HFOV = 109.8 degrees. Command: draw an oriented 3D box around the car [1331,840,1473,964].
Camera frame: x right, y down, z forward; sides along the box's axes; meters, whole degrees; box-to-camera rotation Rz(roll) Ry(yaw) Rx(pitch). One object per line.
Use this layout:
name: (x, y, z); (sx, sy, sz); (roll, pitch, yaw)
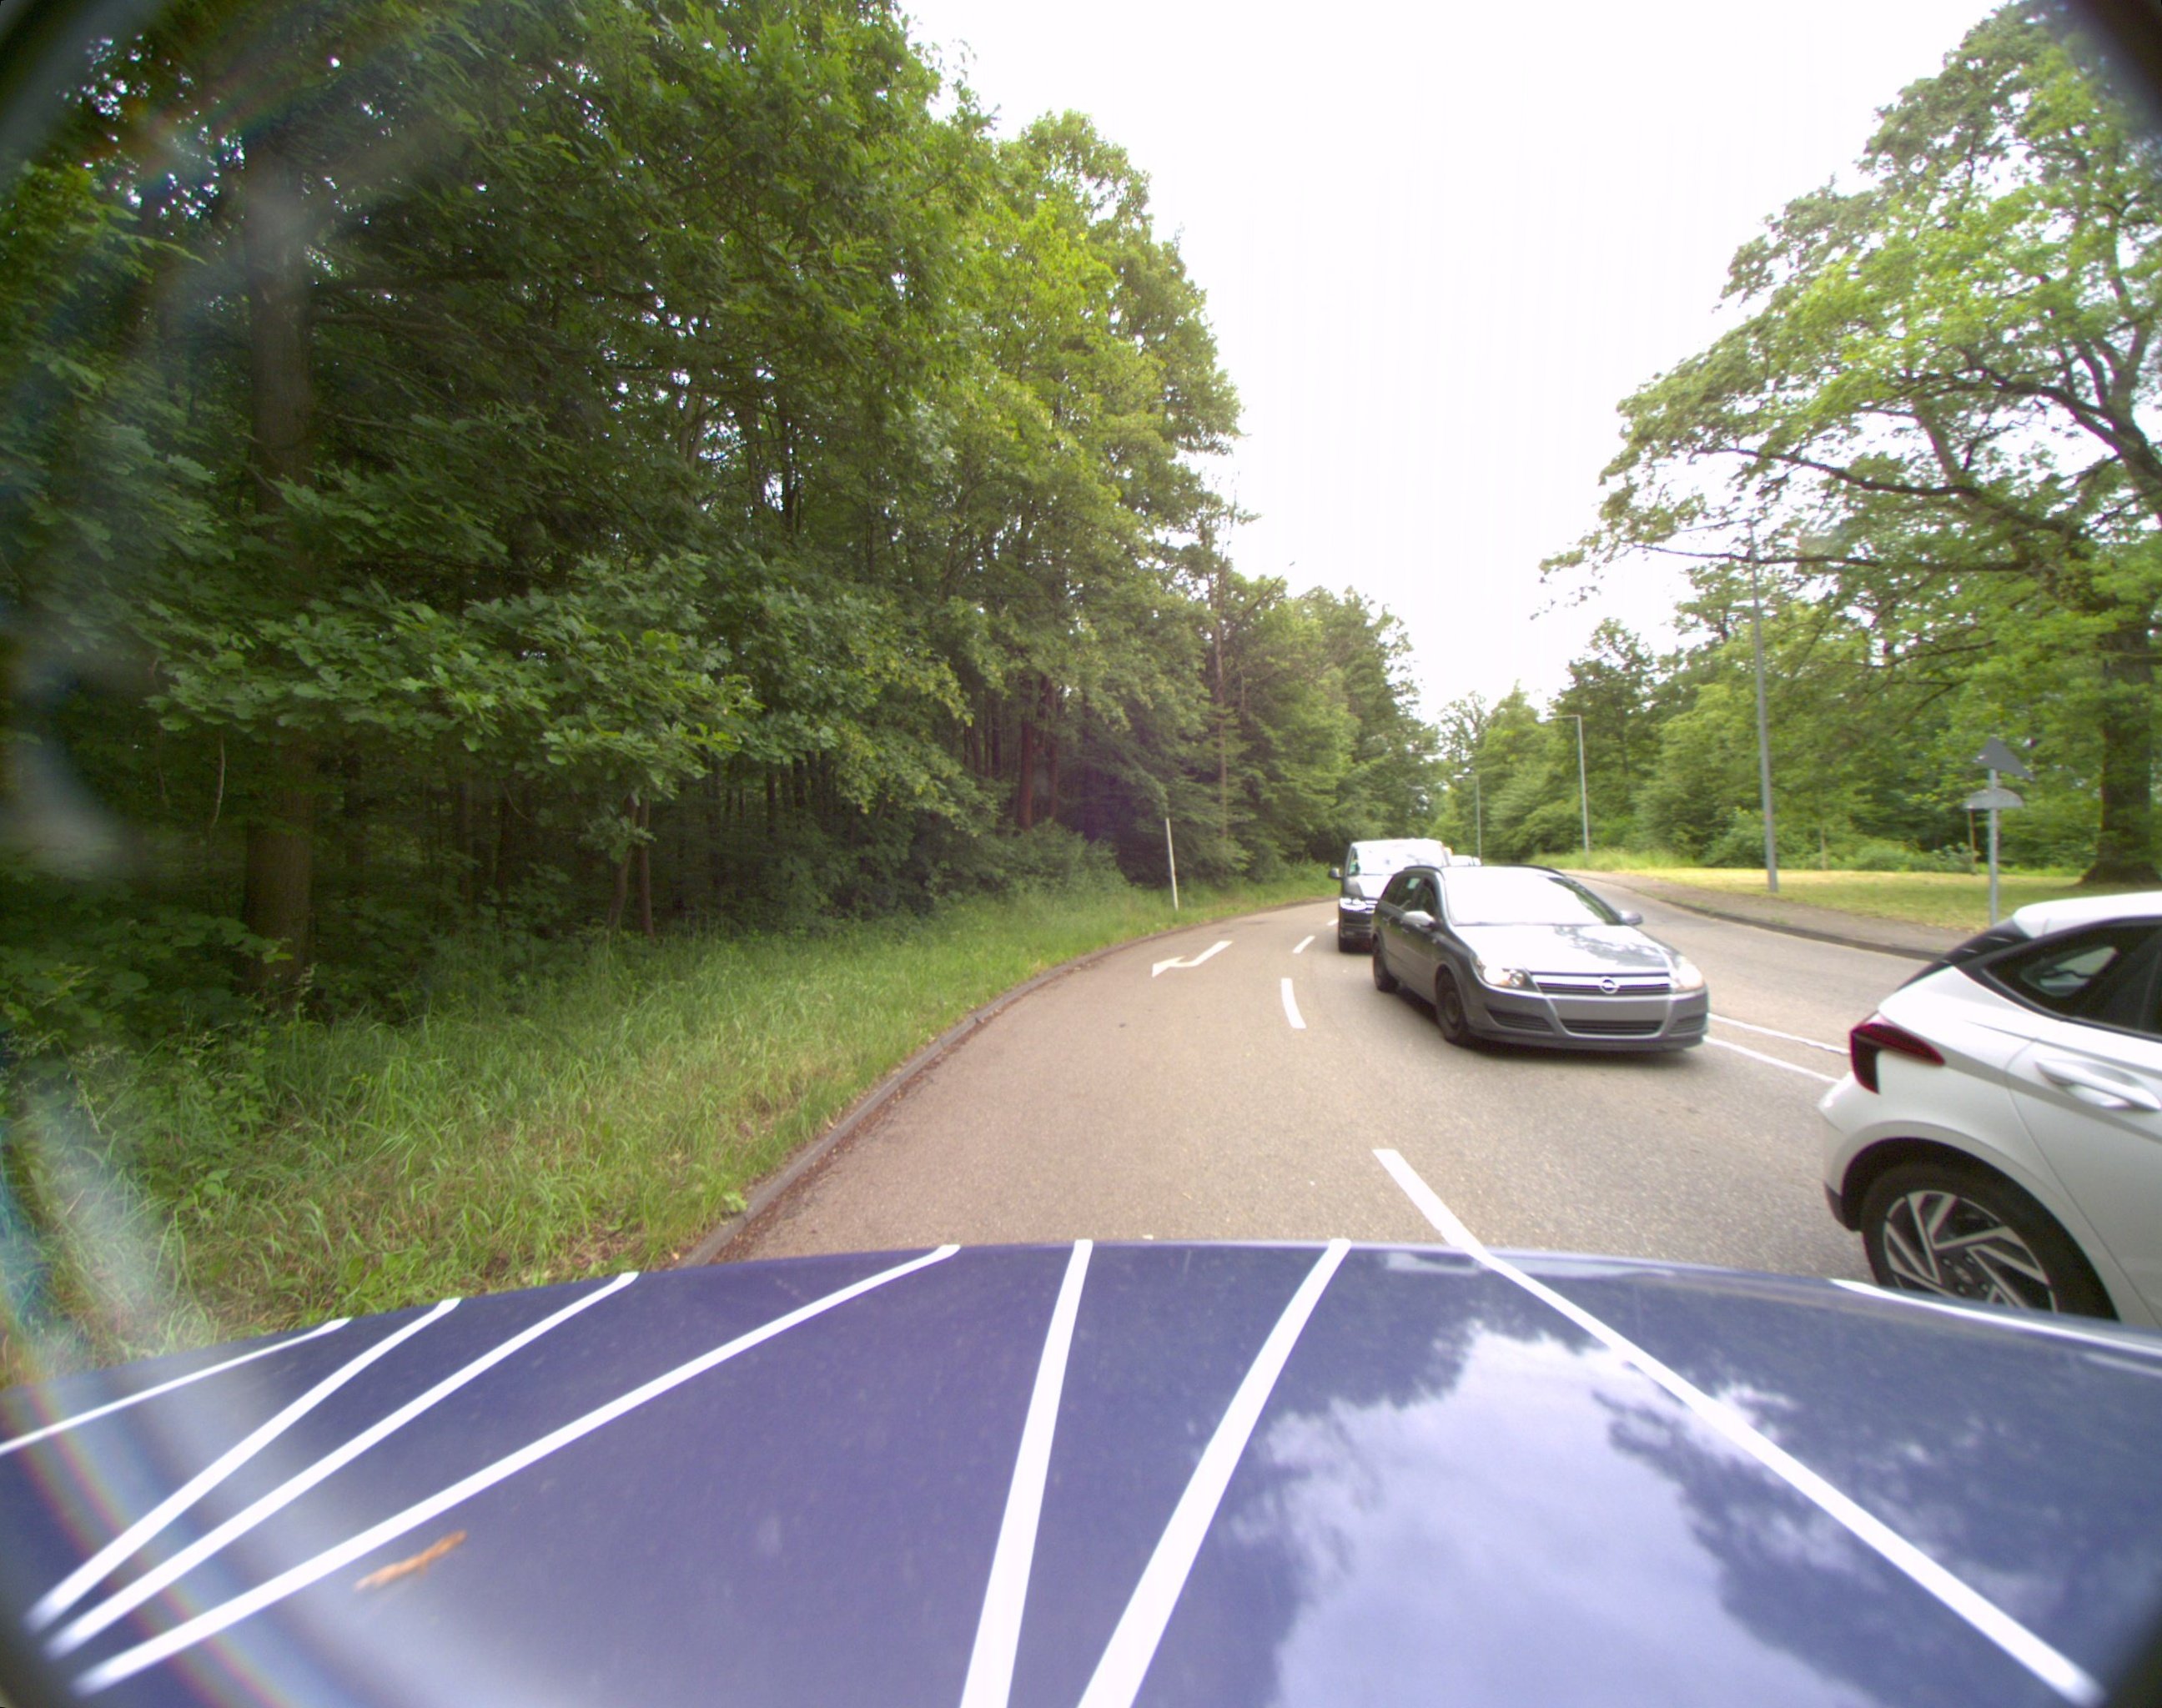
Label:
car: (5.731, 0.755, 13.858); (1.987, 1.861, 4.539); (-1, -1, 21)

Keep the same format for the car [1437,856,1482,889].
car: (18.201, 0.847, 36.663); (1.775, 1.490, 3.880); (-2, -1, 25)

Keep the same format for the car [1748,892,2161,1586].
car: (3.158, 0.857, 0.681); (1.653, 1.470, 4.074); (-1, -1, 3)

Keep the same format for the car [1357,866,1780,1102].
car: (3.942, 0.879, 7.172); (1.801, 1.470, 4.474); (-1, -1, 11)

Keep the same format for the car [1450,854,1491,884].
car: (20.985, 0.788, 41.032); (1.775, 1.490, 3.880); (-2, -1, 25)

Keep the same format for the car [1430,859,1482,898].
car: (15.231, 0.969, 30.961); (1.775, 1.490, 3.880); (-2, -1, 25)

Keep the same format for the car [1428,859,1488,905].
car: (13.408, 0.959, 27.185); (1.775, 1.490, 3.880); (-2, -1, 25)

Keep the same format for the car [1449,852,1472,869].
car: (34.209, 0.590, 68.476); (1.775, 1.490, 3.880); (-2, -1, 28)

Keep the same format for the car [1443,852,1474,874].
car: (26.740, 0.626, 53.772); (1.775, 1.490, 3.880); (-2, -1, 28)
